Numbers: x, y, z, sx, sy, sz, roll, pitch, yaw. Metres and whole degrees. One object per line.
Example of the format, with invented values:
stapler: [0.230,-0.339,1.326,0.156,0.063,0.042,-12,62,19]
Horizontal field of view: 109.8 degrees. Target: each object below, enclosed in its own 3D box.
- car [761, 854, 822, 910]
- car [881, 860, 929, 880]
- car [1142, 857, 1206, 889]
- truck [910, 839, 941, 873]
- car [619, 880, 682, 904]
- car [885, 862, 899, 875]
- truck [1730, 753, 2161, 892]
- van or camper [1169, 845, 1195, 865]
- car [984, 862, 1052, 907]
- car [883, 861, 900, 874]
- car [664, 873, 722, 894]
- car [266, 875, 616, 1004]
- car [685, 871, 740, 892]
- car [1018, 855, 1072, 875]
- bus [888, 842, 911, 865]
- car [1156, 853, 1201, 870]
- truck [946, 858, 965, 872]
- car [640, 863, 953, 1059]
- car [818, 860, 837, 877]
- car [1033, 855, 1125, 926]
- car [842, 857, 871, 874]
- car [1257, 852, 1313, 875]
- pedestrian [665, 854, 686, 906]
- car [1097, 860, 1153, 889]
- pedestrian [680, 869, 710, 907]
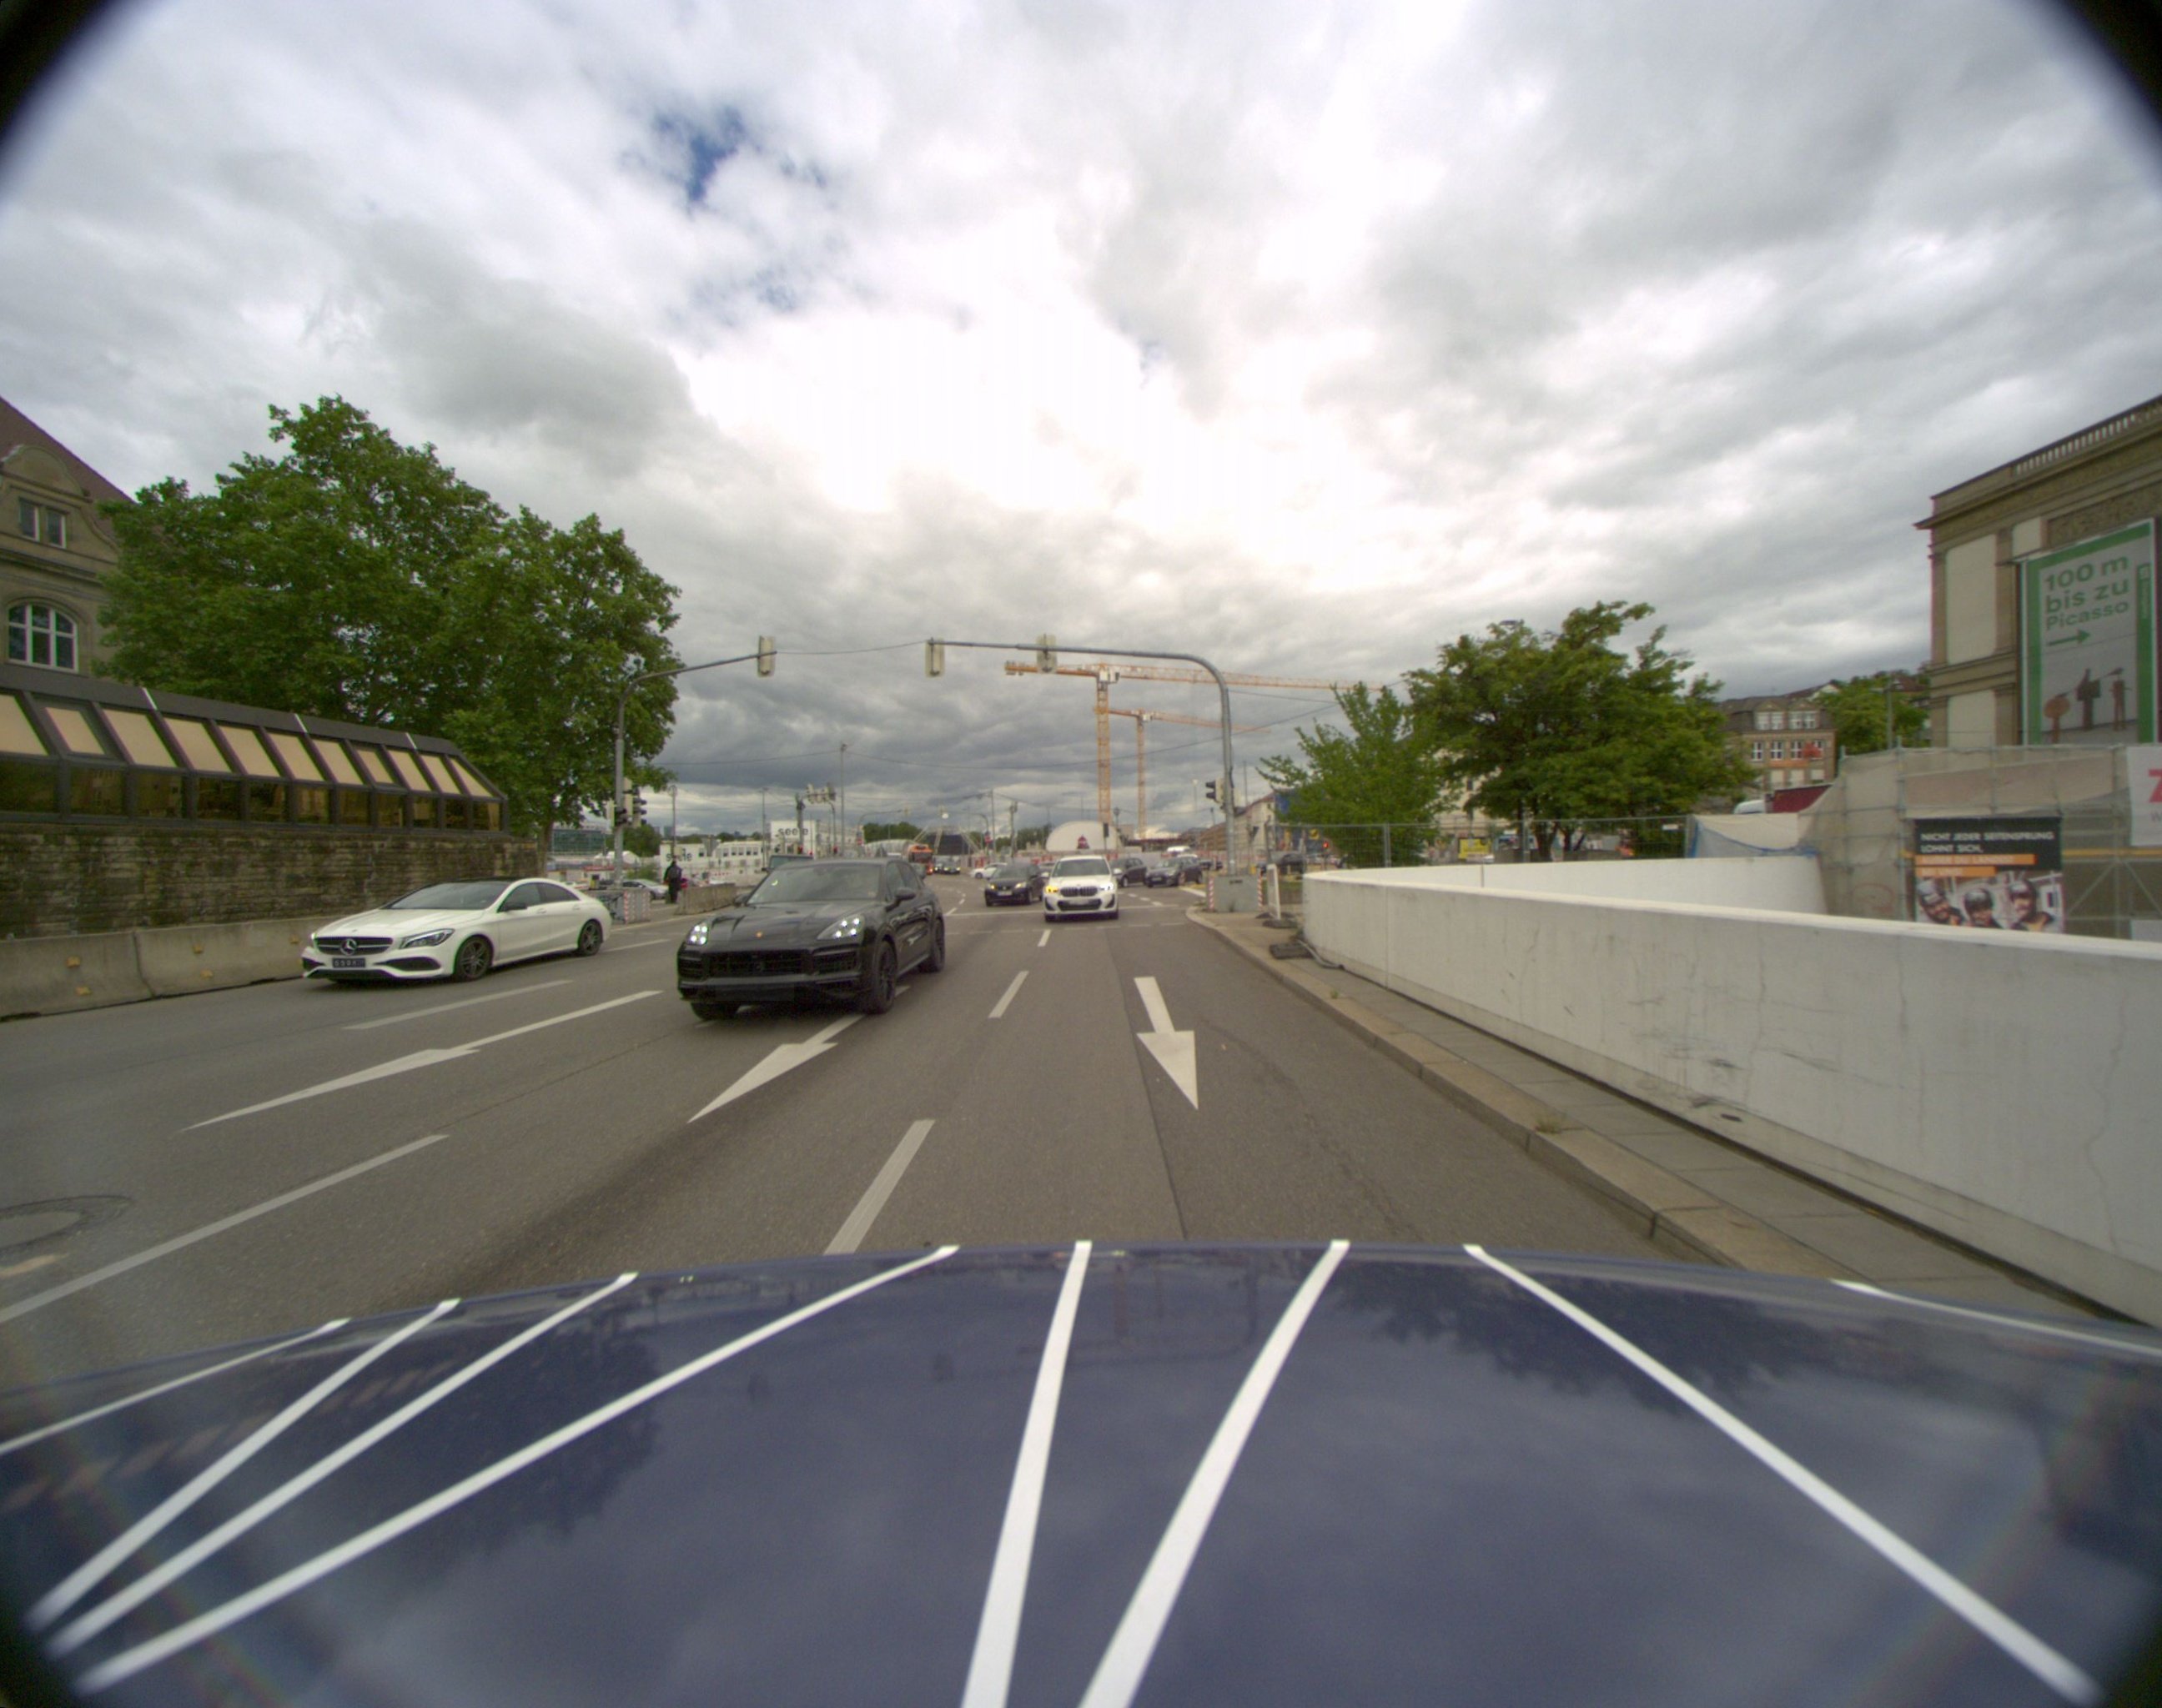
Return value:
car: [-11.003,1.027,29.104,1.941,1.926,3.667,4,-2,-19]
car: [-15.647,1.440,67.636,3.954,1.564,1.692,-2,-3,-6]
car: [4.751,0.919,38.347,1.849,1.412,4.112,-2,0,27]
truck: [-18.178,0.241,88.336,2.912,3.653,9.014,-1,0,-15]
car: [-30.737,2.696,54.284,3.444,1.427,1.665,-3,2,2]
car: [-22.695,1.728,91.201,1.653,1.427,3.614,-1,0,-15]
truck: [33.312,-0.878,29.417,2.924,4.058,16.618,0,0,3]
van or camper: [11.526,0.092,86.714,1.995,2.214,4.005,-1,2,22]
car: [-2.261,1.077,28.436,1.732,1.461,4.421,0,0,6]
car: [-21.327,1.477,85.274,1.788,1.427,4.063,-1,0,-15]
car: [-29.310,2.228,57.416,3.443,1.427,1.691,-2,1,4]
car: [-9.253,1.121,11.596,1.739,1.427,4.380,0,1,-2]
car: [-29.268,2.198,60.363,3.443,1.427,1.694,-2,2,4]
car: [-3.240,0.984,68.185,4.680,1.569,1.910,-3,0,-3]
bus: [-26.449,0.056,110.915,2.814,3.150,9.394,-1,-1,-11]
car: [9.236,0.757,72.101,4.068,1.564,1.693,-1,-1,0]
truck: [-14.330,1.211,86.569,1.827,1.531,3.757,-1,0,-14]
car: [-2.994,1.006,9.262,1.956,1.638,4.608,-4,0,0]
car: [-29.815,1.690,89.530,2.001,2.001,3.995,-1,-1,-17]
car: [0.059,0.860,19.614,1.811,1.595,3.715,-2,0,8]
car: [-28.834,1.475,97.719,1.997,2.001,4.167,-1,-1,7]
car: [14.302,0.665,53.150,4.113,1.412,1.872,-2,0,-44]
pedestrian: [-16.049,1.009,30.082,0.623,2.002,0.849,-3,1,-26]
car: [2.352,1.026,39.960,1.574,1.411,3.578,0,0,28]
pedestrian: [-21.470,1.861,42.230,1.206,2.002,1.191,-3,1,-35]
